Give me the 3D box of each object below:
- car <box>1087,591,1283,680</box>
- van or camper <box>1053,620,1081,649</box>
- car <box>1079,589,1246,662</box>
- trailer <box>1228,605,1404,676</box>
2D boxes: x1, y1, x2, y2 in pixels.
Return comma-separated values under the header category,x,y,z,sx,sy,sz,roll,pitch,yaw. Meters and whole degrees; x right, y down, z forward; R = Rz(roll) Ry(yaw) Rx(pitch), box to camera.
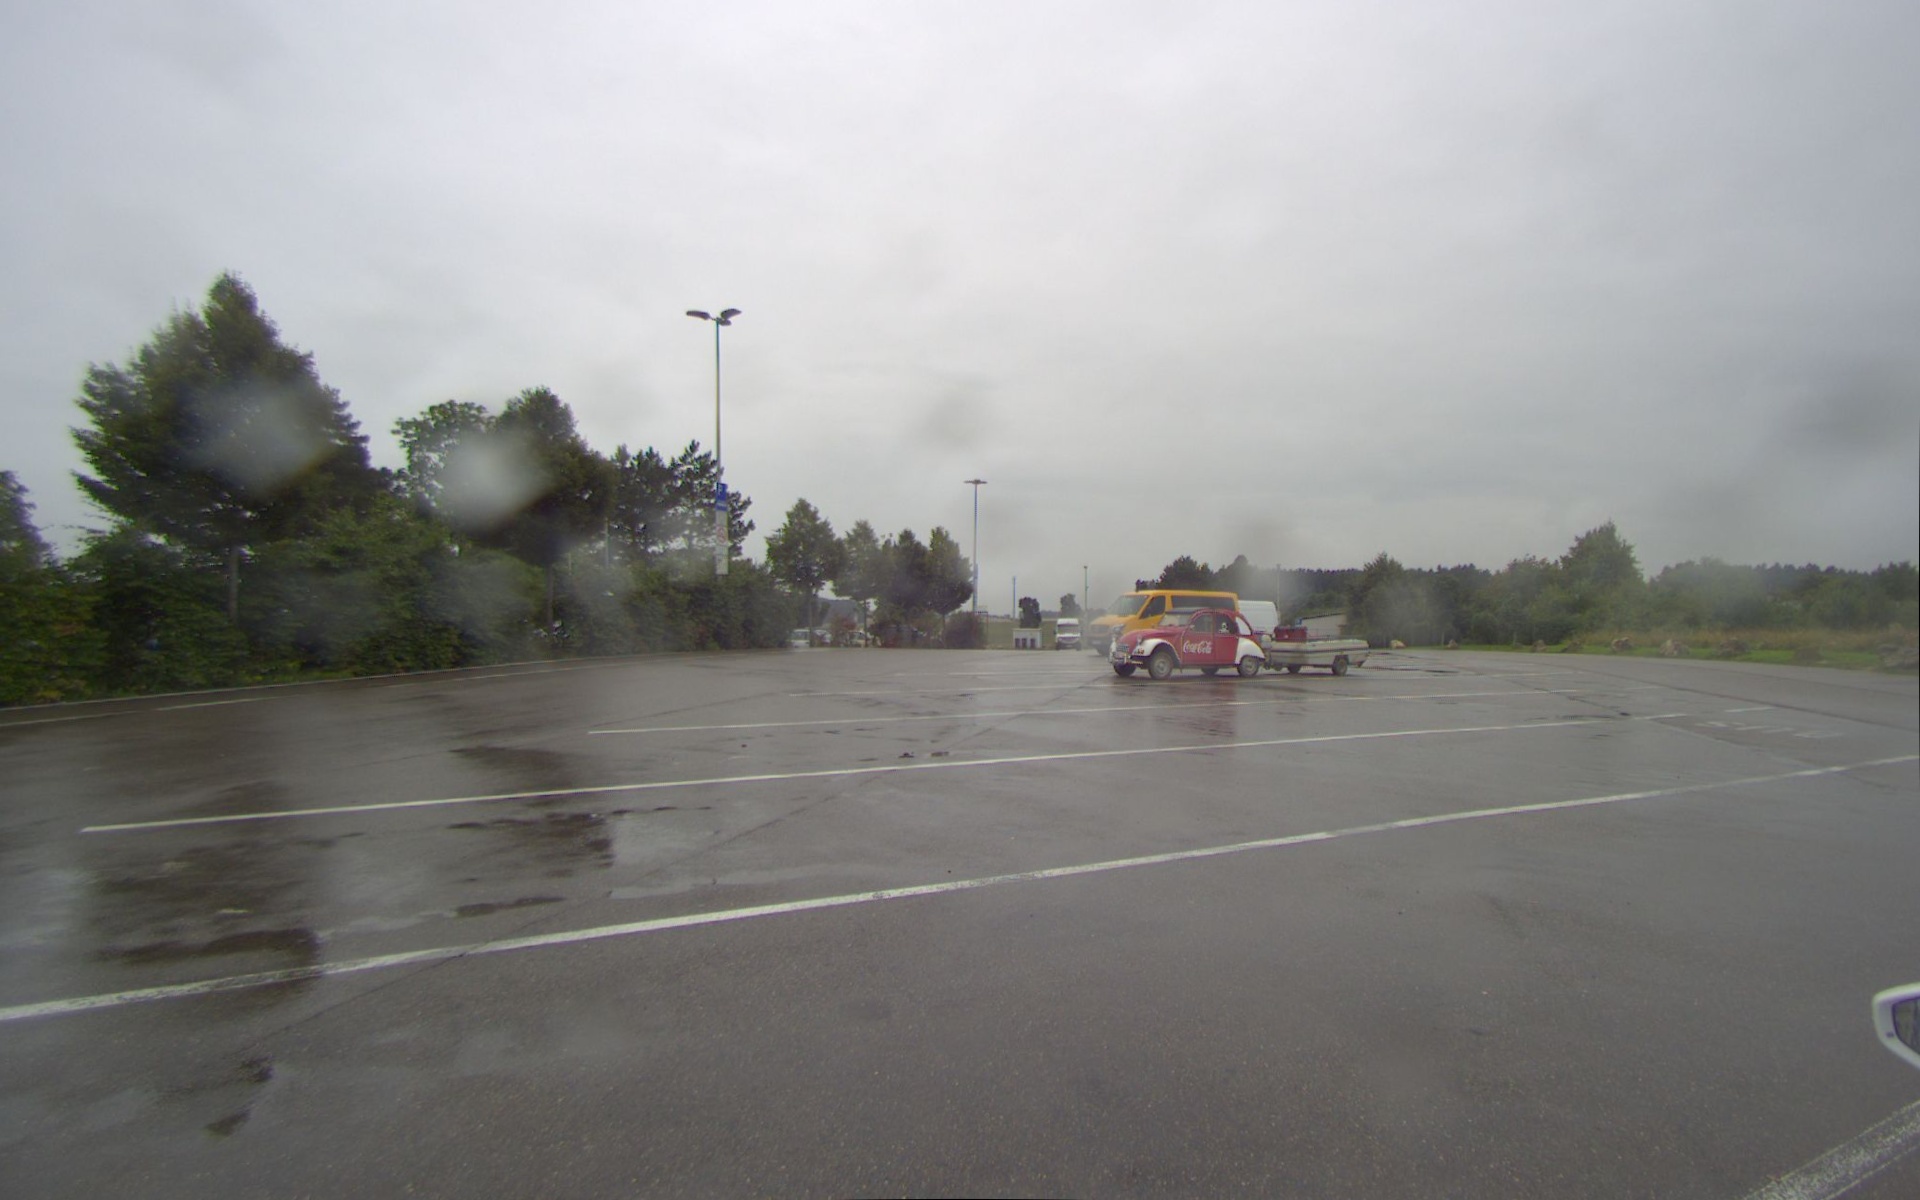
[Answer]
category,x,y,z,sx,sy,sz,roll,pitch,yaw
car,4.930,0.771,21.999,3.948,1.800,1.816,1,-2,-27
van or camper,8.360,2.702,78.487,1.960,2.195,4.002,0,-2,3
car,7.198,0.945,35.470,5.955,2.411,1.985,2,-3,-30
trailer,8.448,0.935,23.800,3.948,1.553,1.689,0,-2,-27
